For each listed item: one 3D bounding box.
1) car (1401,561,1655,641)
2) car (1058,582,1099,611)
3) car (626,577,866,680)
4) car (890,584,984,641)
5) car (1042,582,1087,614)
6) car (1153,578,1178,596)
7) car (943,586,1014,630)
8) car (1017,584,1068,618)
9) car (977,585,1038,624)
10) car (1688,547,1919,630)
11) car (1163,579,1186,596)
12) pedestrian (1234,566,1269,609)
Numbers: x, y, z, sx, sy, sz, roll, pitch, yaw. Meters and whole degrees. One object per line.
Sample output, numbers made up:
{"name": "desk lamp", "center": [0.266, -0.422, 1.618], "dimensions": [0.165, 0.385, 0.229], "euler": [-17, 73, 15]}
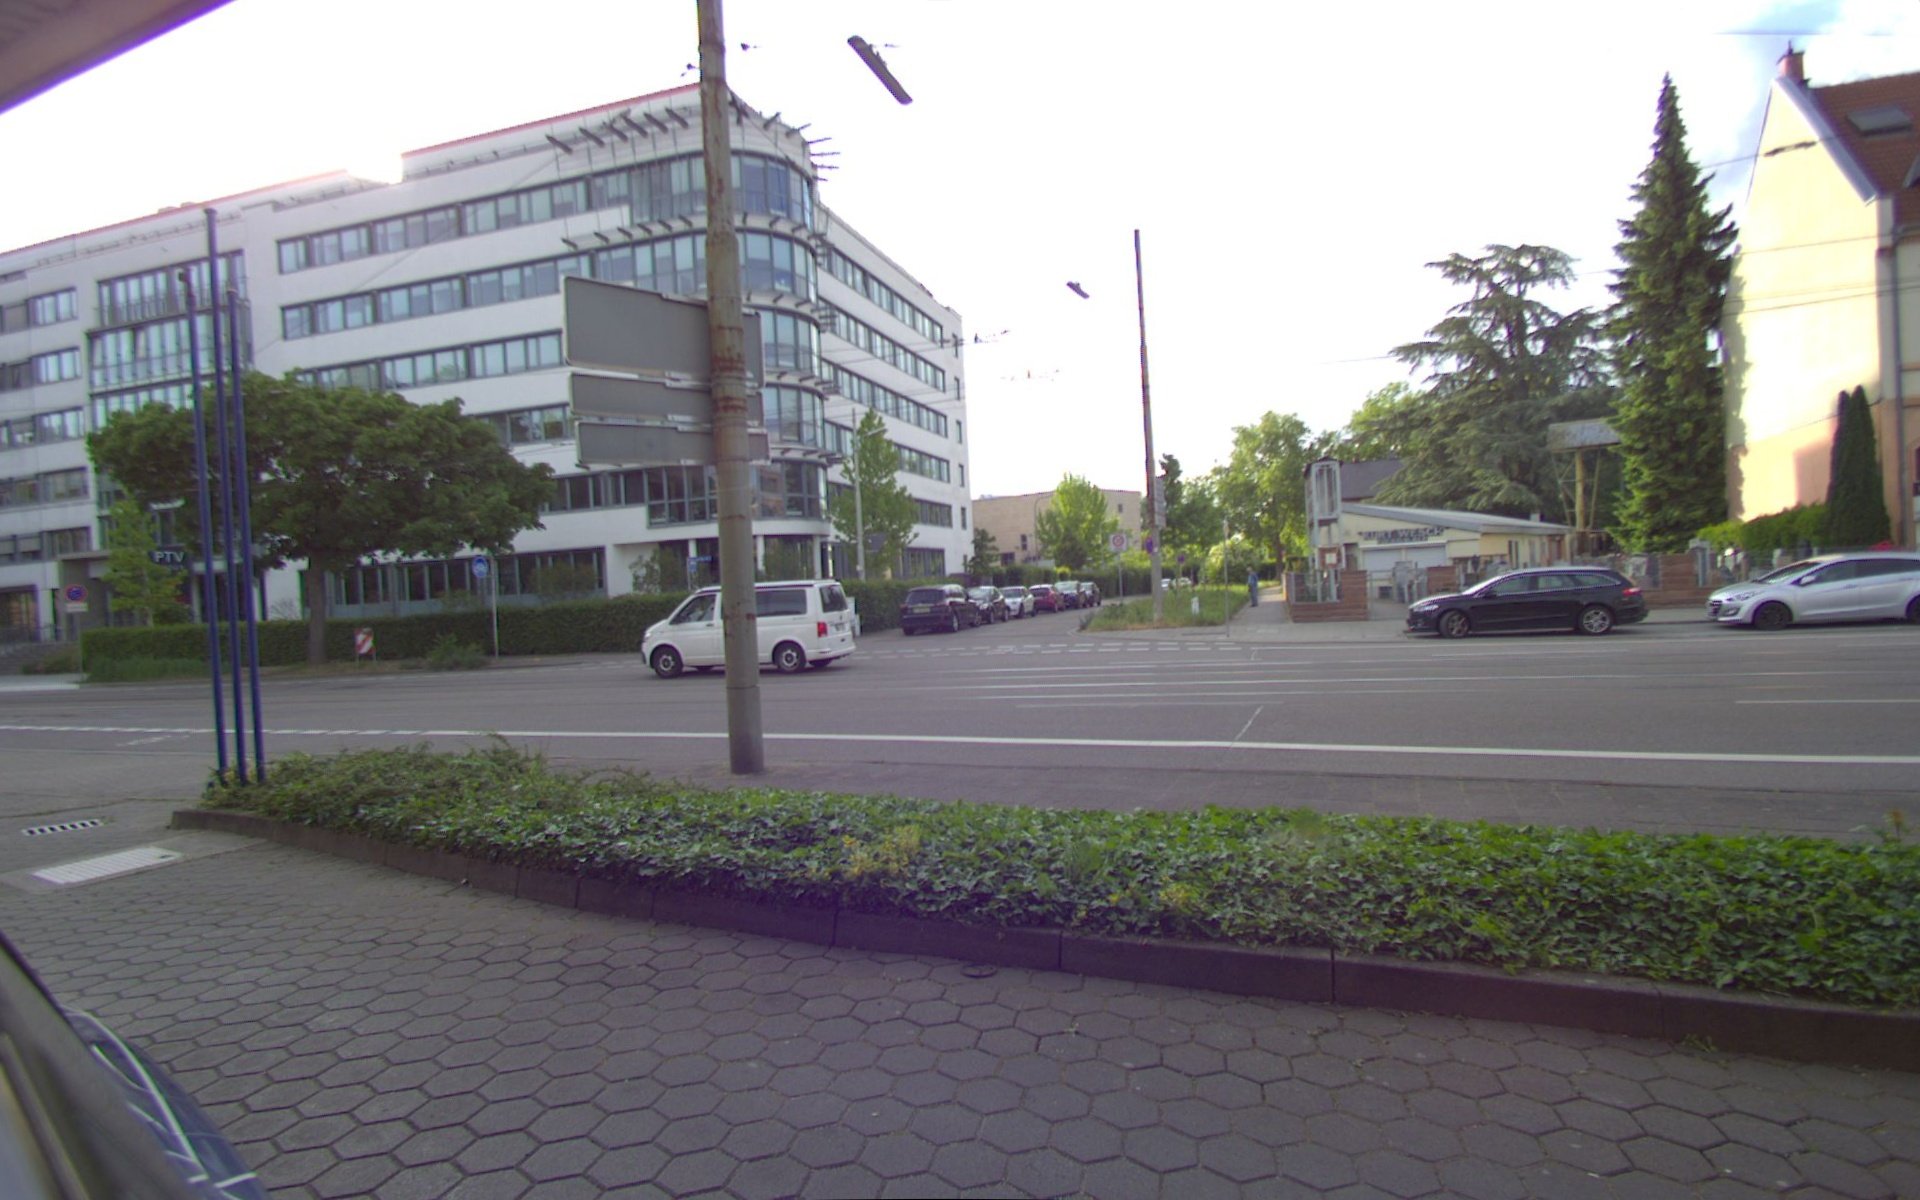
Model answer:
{"name": "car", "center": [12.921, 0.039, 23.424], "dimensions": [4.791, 1.507, 1.986], "euler": [-3, 0, 22]}
{"name": "car", "center": [7.378, -0.243, 62.680], "dimensions": [1.773, 1.653, 4.064], "euler": [-4, 0, 17]}
{"name": "car", "center": [-4.772, 0.637, 22.747], "dimensions": [4.845, 1.983, 1.990], "euler": [-3, 0, 16]}
{"name": "car", "center": [-0.717, 0.376, 35.545], "dimensions": [1.962, 1.625, 4.411], "euler": [-4, 2, 17]}
{"name": "car", "center": [5.987, -0.145, 57.670], "dimensions": [1.773, 1.653, 4.064], "euler": [-4, 0, 17]}
{"name": "car", "center": [20.431, -1.286, 100.622], "dimensions": [1.774, 1.653, 4.060], "euler": [-4, 0, 19]}
{"name": "car", "center": [0.803, 0.283, 40.903], "dimensions": [1.773, 1.565, 4.083], "euler": [-4, 0, 17]}
{"name": "car", "center": [4.292, 0.015, 52.369], "dimensions": [1.773, 1.552, 4.018], "euler": [-4, 0, 17]}
{"name": "car", "center": [2.211, 0.169, 45.764], "dimensions": [1.773, 1.565, 4.083], "euler": [-4, 0, 17]}
{"name": "car", "center": [18.497, -0.262, 21.507], "dimensions": [4.459, 1.486, 1.986], "euler": [-4, 0, 22]}
{"name": "car", "center": [22.570, -1.315, 106.320], "dimensions": [1.774, 1.653, 4.060], "euler": [-4, 0, 19]}
{"name": "pedestrian", "center": [12.715, -0.537, 44.164], "dimensions": [0.988, 1.843, 1.096], "euler": [-1, 0, -28]}
